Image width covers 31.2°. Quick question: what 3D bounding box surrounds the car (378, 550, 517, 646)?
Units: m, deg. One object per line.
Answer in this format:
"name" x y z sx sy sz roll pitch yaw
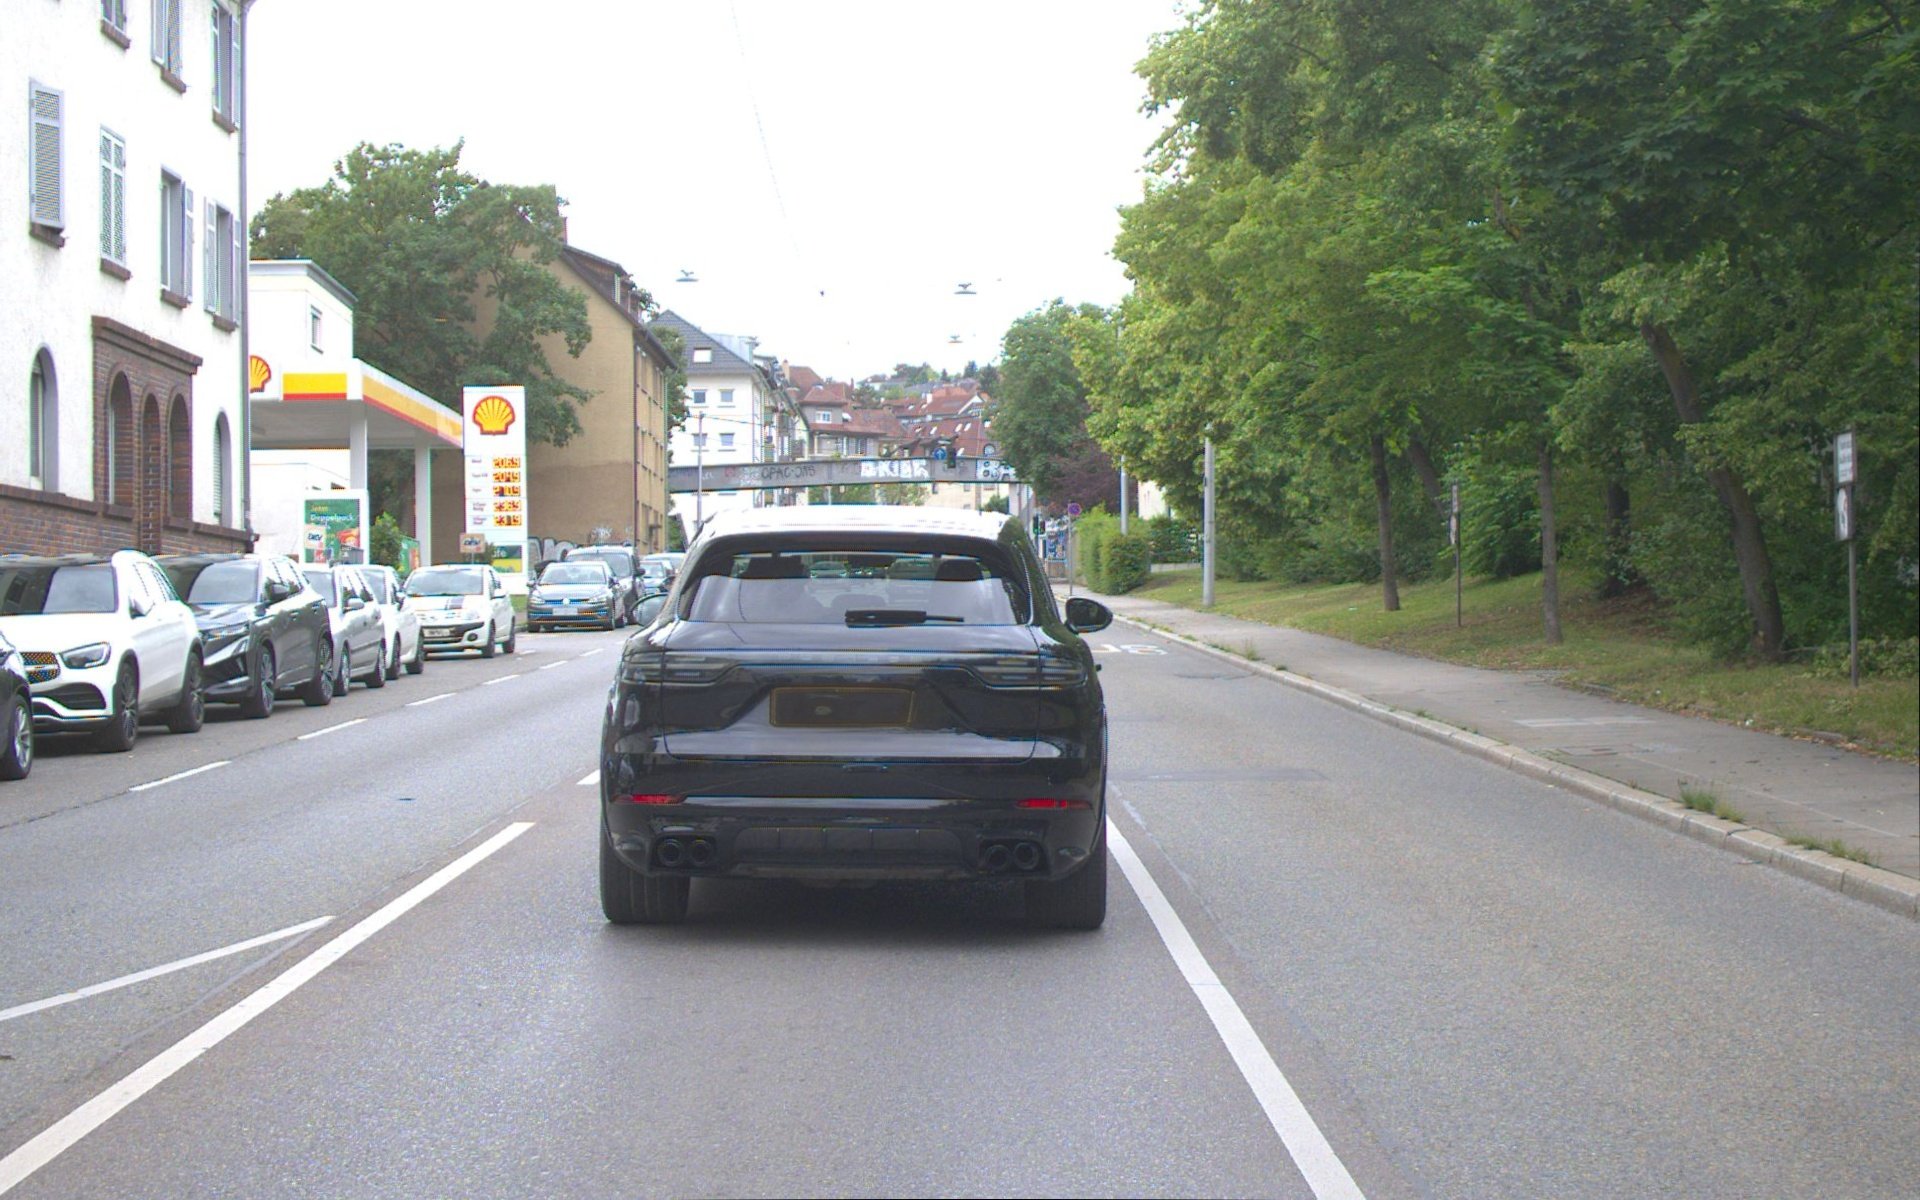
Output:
"car" -8.007 -0.051 53.989 1.619 1.420 3.665 -1 1 0

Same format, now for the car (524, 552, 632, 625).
"car" -7.993 -0.266 72.221 1.790 1.445 4.218 -1 1 0

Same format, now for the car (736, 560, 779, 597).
"car" -8.854 -0.940 150.588 1.745 1.563 3.908 -2 0 -2

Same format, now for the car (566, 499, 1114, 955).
"car" -0.443 0.420 14.542 1.993 1.656 4.000 0 1 0

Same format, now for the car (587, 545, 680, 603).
"car" -8.431 -0.681 89.116 1.798 1.426 4.743 -1 1 2

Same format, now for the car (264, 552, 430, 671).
"car" -7.942 0.120 44.796 1.547 1.470 3.604 -1 1 -1

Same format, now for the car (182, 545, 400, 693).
"car" -7.695 0.186 39.864 1.727 1.553 4.082 -3 1 -1

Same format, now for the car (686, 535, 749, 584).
"car" -8.457 -1.402 120.358 1.783 1.603 4.264 -3 1 1

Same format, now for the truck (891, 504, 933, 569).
"truck" -2.621 -3.444 188.407 2.266 3.413 9.878 0 0 -1

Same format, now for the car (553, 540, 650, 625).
"car" -8.108 -0.414 78.074 1.851 1.829 4.702 -1 1 -2

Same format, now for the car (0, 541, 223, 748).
"car" -7.679 0.318 29.381 1.845 1.616 4.644 -1 1 -1

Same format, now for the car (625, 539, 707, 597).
"car" -8.394 -0.918 98.466 1.915 1.572 4.700 -1 1 0

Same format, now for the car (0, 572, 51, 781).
"car" -7.475 0.562 22.940 1.727 1.424 4.192 -1 1 -1

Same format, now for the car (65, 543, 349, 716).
"car" -7.490 0.237 34.635 1.727 1.593 4.501 -1 1 2

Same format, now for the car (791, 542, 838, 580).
"car" -6.079 -1.625 143.710 1.797 1.520 4.000 -1 1 0
